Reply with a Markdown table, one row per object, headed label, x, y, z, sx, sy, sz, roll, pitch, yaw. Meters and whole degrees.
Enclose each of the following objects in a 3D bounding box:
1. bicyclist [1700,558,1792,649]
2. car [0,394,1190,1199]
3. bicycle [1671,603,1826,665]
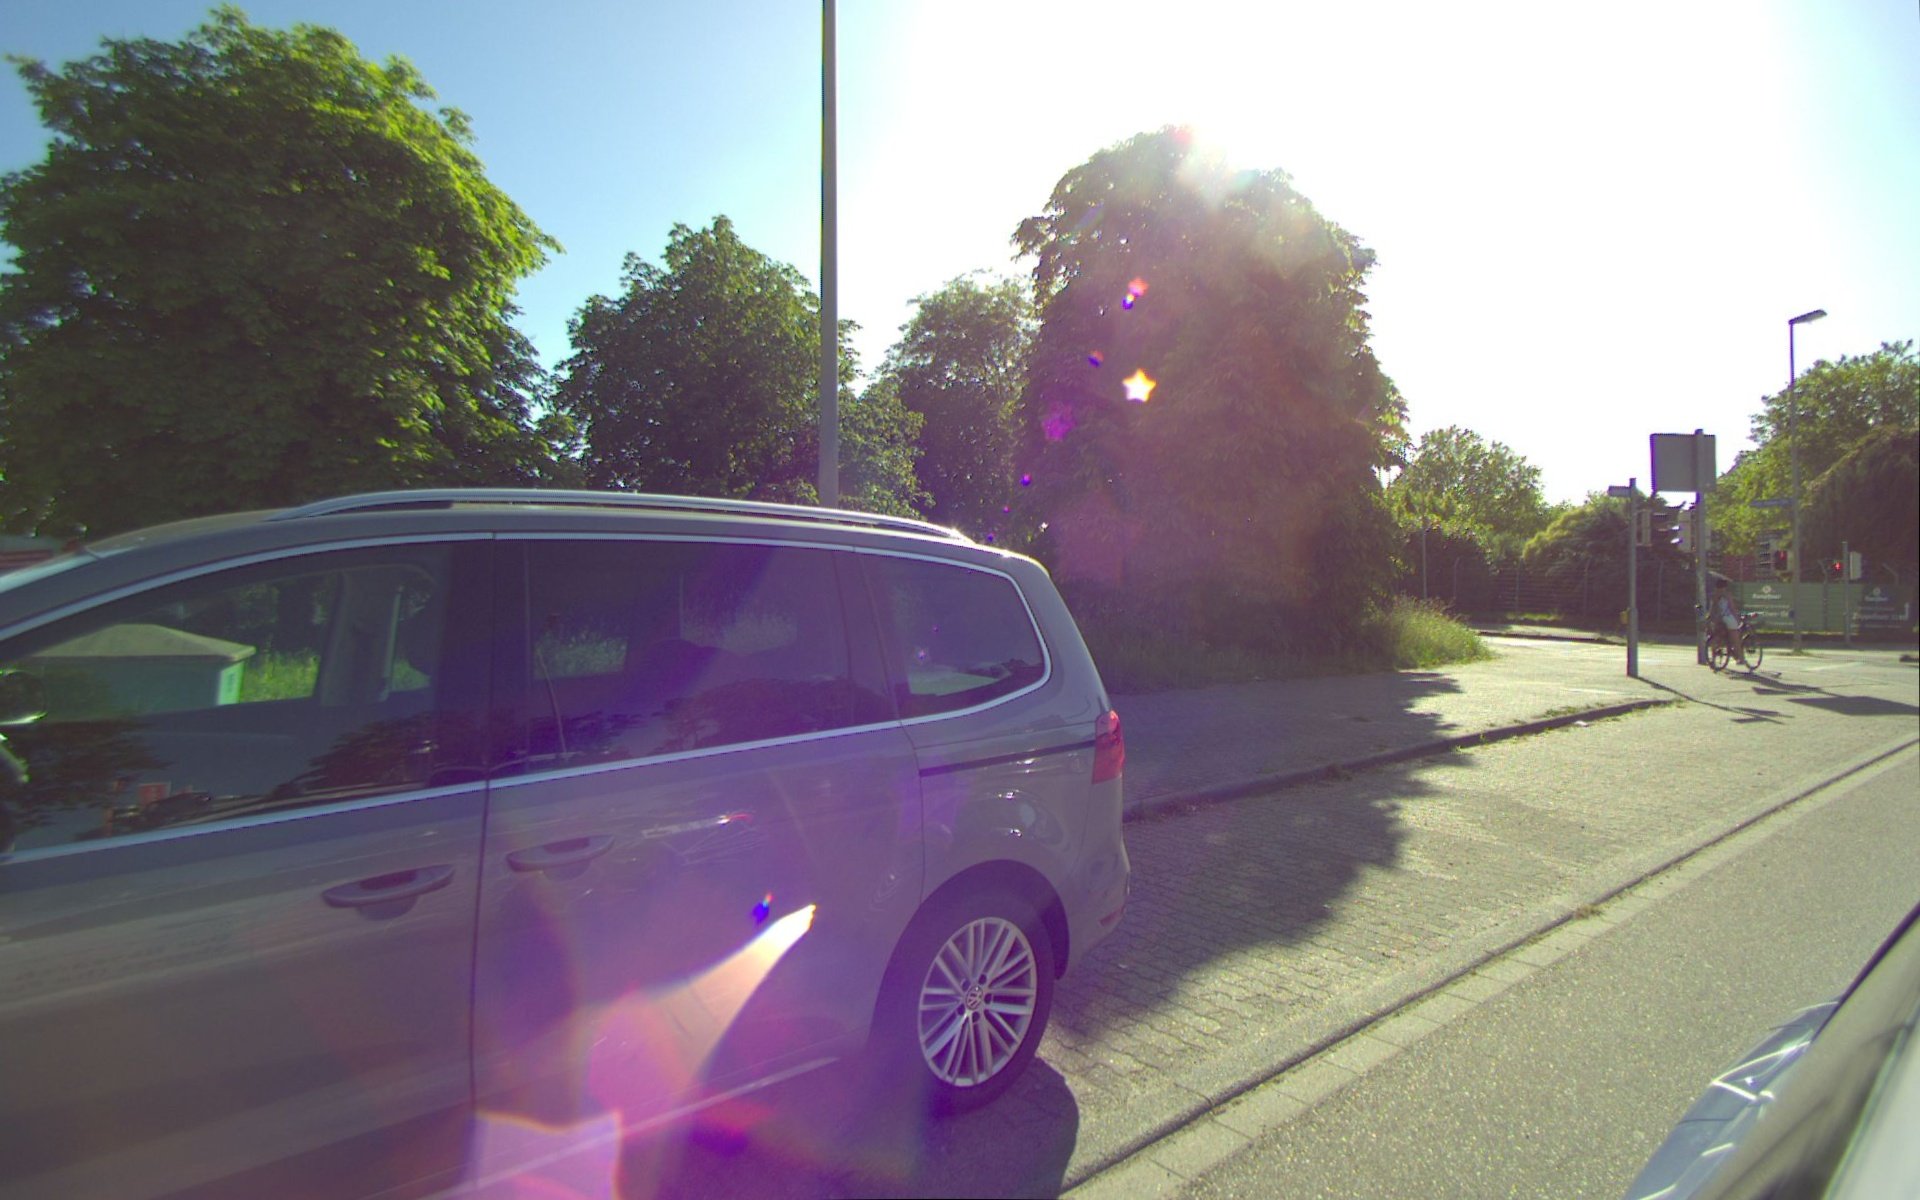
| label | x | y | z | sx | sy | sz | roll | pitch | yaw |
| --- | --- | --- | --- | --- | --- | --- | --- | --- | --- |
| bicyclist | 15.167 | 0.076 | 19.546 | 1.165 | 1.714 | 0.894 | 0 | -1 | -19 |
| car | -1.557 | 0.523 | 2.710 | 4.530 | 1.743 | 1.877 | 0 | 2 | -40 |
| bicycle | 15.226 | 0.634 | 19.546 | 2.891 | 1.140 | 0.905 | 0 | -1 | -19 |
